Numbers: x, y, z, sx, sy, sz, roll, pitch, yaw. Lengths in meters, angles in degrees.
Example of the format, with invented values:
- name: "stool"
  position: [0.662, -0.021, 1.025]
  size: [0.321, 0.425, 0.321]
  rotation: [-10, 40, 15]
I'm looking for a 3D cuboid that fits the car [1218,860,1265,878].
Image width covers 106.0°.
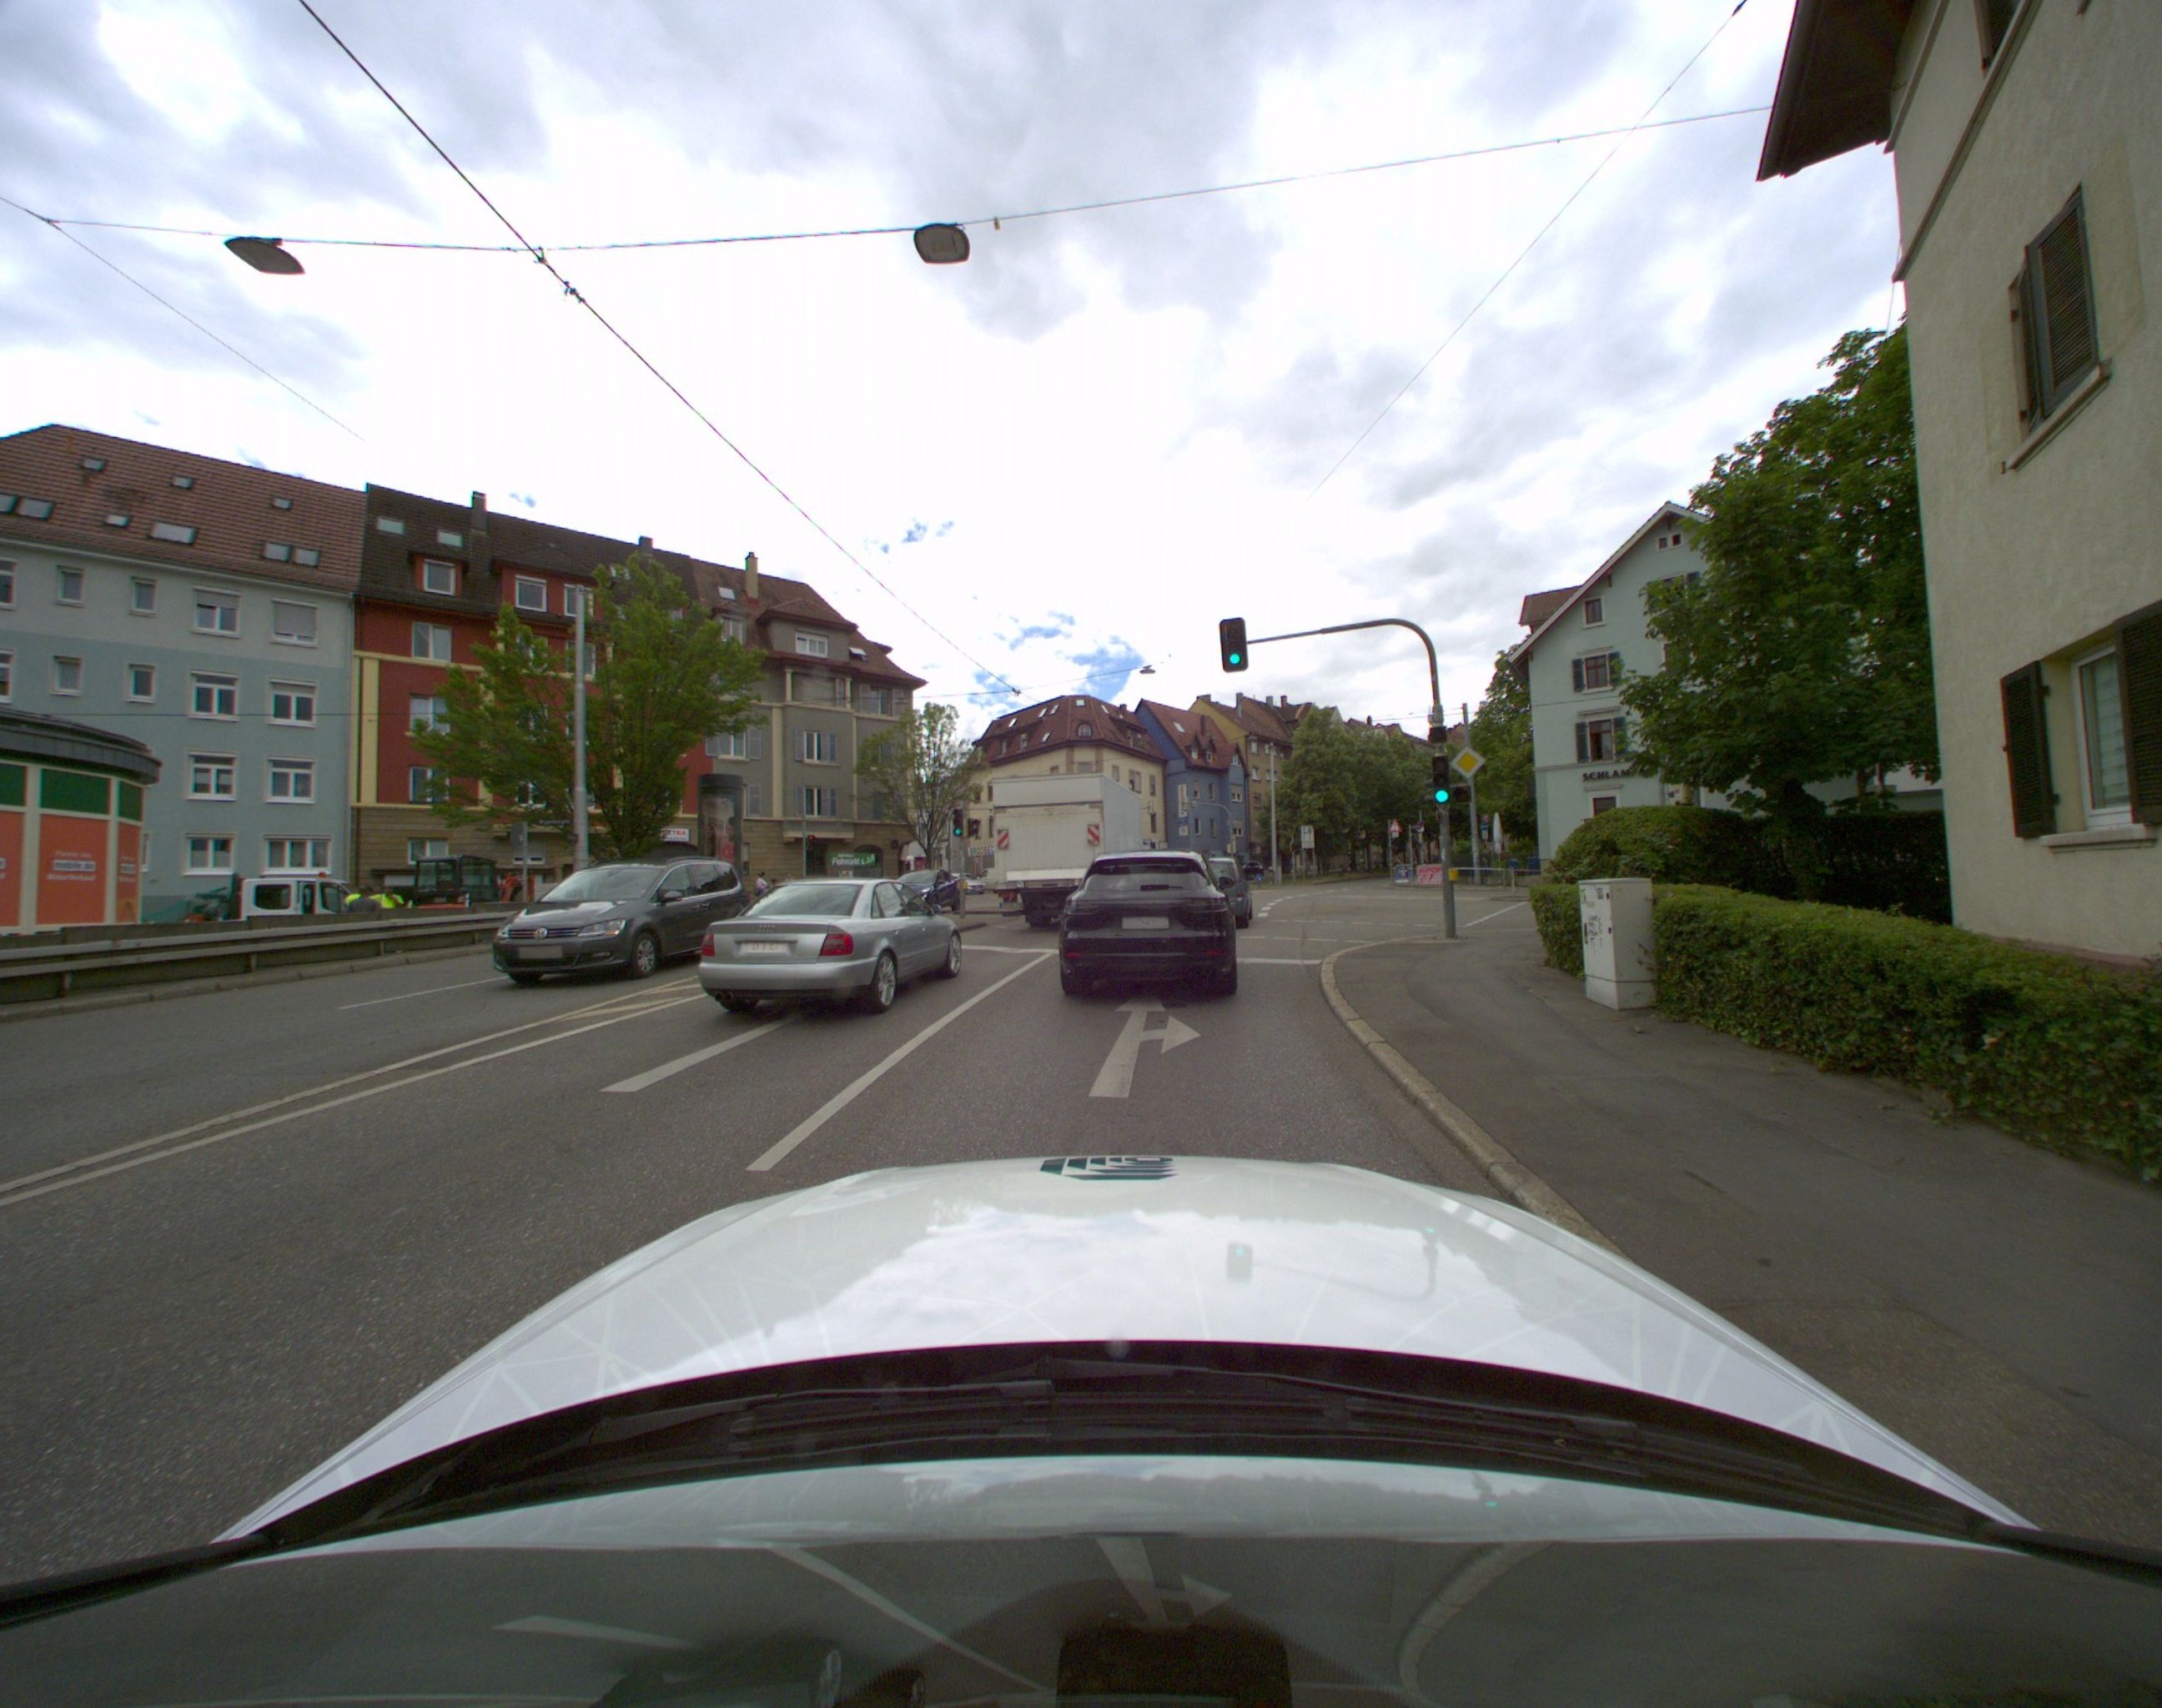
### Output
- name: "car"
  position: [13.905, 1.311, 70.330]
  size: [1.852, 1.416, 4.727]
  rotation: [-4, -3, 41]

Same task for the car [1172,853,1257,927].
- name: "car"
  position: [3.223, 0.804, 19.241]
  size: [1.637, 1.556, 3.596]
  rotation: [-1, -1, 15]

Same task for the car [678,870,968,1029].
- name: "car"
  position: [-2.631, 0.897, 9.421]
  size: [1.620, 1.365, 4.136]
  rotation: [0, 0, 7]

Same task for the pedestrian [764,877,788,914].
- name: "pedestrian"
  position: [-11.440, 1.556, 30.581]
  size: [0.569, 1.338, 0.587]
  rotation: [-2, -1, 22]

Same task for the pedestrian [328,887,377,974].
- name: "pedestrian"
  position: [-17.520, 1.815, 19.598]
  size: [0.830, 2.014, 0.672]
  rotation: [-1, -1, -39]

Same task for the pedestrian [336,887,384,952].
- name: "pedestrian"
  position: [-15.804, 1.418, 17.860]
  size: [0.594, 1.363, 0.629]
  rotation: [-3, -1, 33]

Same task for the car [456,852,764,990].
- name: "car"
  position: [-6.874, 0.879, 12.653]
  size: [1.897, 1.714, 4.720]
  rotation: [-1, -1, 2]

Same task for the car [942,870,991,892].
- name: "car"
  position: [-8.420, 2.013, 59.637]
  size: [1.890, 1.470, 3.930]
  rotation: [0, -3, -38]

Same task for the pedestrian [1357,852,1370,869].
- name: "pedestrian"
  position: [33.457, 0.751, 96.390]
  size: [1.180, 2.014, 0.995]
  rotation: [-2, -1, 39]

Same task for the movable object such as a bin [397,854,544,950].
- name: "movable object such as a bin"
  position: [-14.250, 1.051, 19.224]
  size: [1.376, 2.014, 3.521]
  rotation: [-2, -1, -12]

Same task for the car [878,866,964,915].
- name: "car"
  position: [-5.504, 1.228, 28.598]
  size: [1.778, 1.531, 4.043]
  rotation: [-2, -1, 7]

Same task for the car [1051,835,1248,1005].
- name: "car"
  position: [0.993, 0.680, 10.624]
  size: [2.020, 1.723, 4.509]
  rotation: [0, 0, 8]

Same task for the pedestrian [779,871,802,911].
- name: "pedestrian"
  position: [-11.114, 1.424, 31.176]
  size: [0.517, 1.487, 0.657]
  rotation: [-2, -1, 21]

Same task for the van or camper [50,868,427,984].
- name: "van or camper"
  position: [-20.136, 1.592, 20.092]
  size: [6.031, 2.338, 2.659]
  rotation: [-1, -1, -35]

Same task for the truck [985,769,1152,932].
- name: "truck"
  position: [0.067, -0.032, 22.066]
  size: [2.707, 3.544, 8.448]
  rotation: [0, -1, 12]

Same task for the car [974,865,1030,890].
- name: "car"
  position: [-6.065, 1.823, 62.194]
  size: [2.076, 1.799, 4.284]
  rotation: [-1, -1, -41]

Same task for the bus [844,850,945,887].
- name: "bus"
  position: [-17.084, 1.387, 73.729]
  size: [3.185, 3.096, 12.002]
  rotation: [0, -2, -43]

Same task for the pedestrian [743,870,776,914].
- name: "pedestrian"
  position: [-11.789, 1.392, 29.876]
  size: [0.785, 1.546, 0.742]
  rotation: [-2, -1, 22]
